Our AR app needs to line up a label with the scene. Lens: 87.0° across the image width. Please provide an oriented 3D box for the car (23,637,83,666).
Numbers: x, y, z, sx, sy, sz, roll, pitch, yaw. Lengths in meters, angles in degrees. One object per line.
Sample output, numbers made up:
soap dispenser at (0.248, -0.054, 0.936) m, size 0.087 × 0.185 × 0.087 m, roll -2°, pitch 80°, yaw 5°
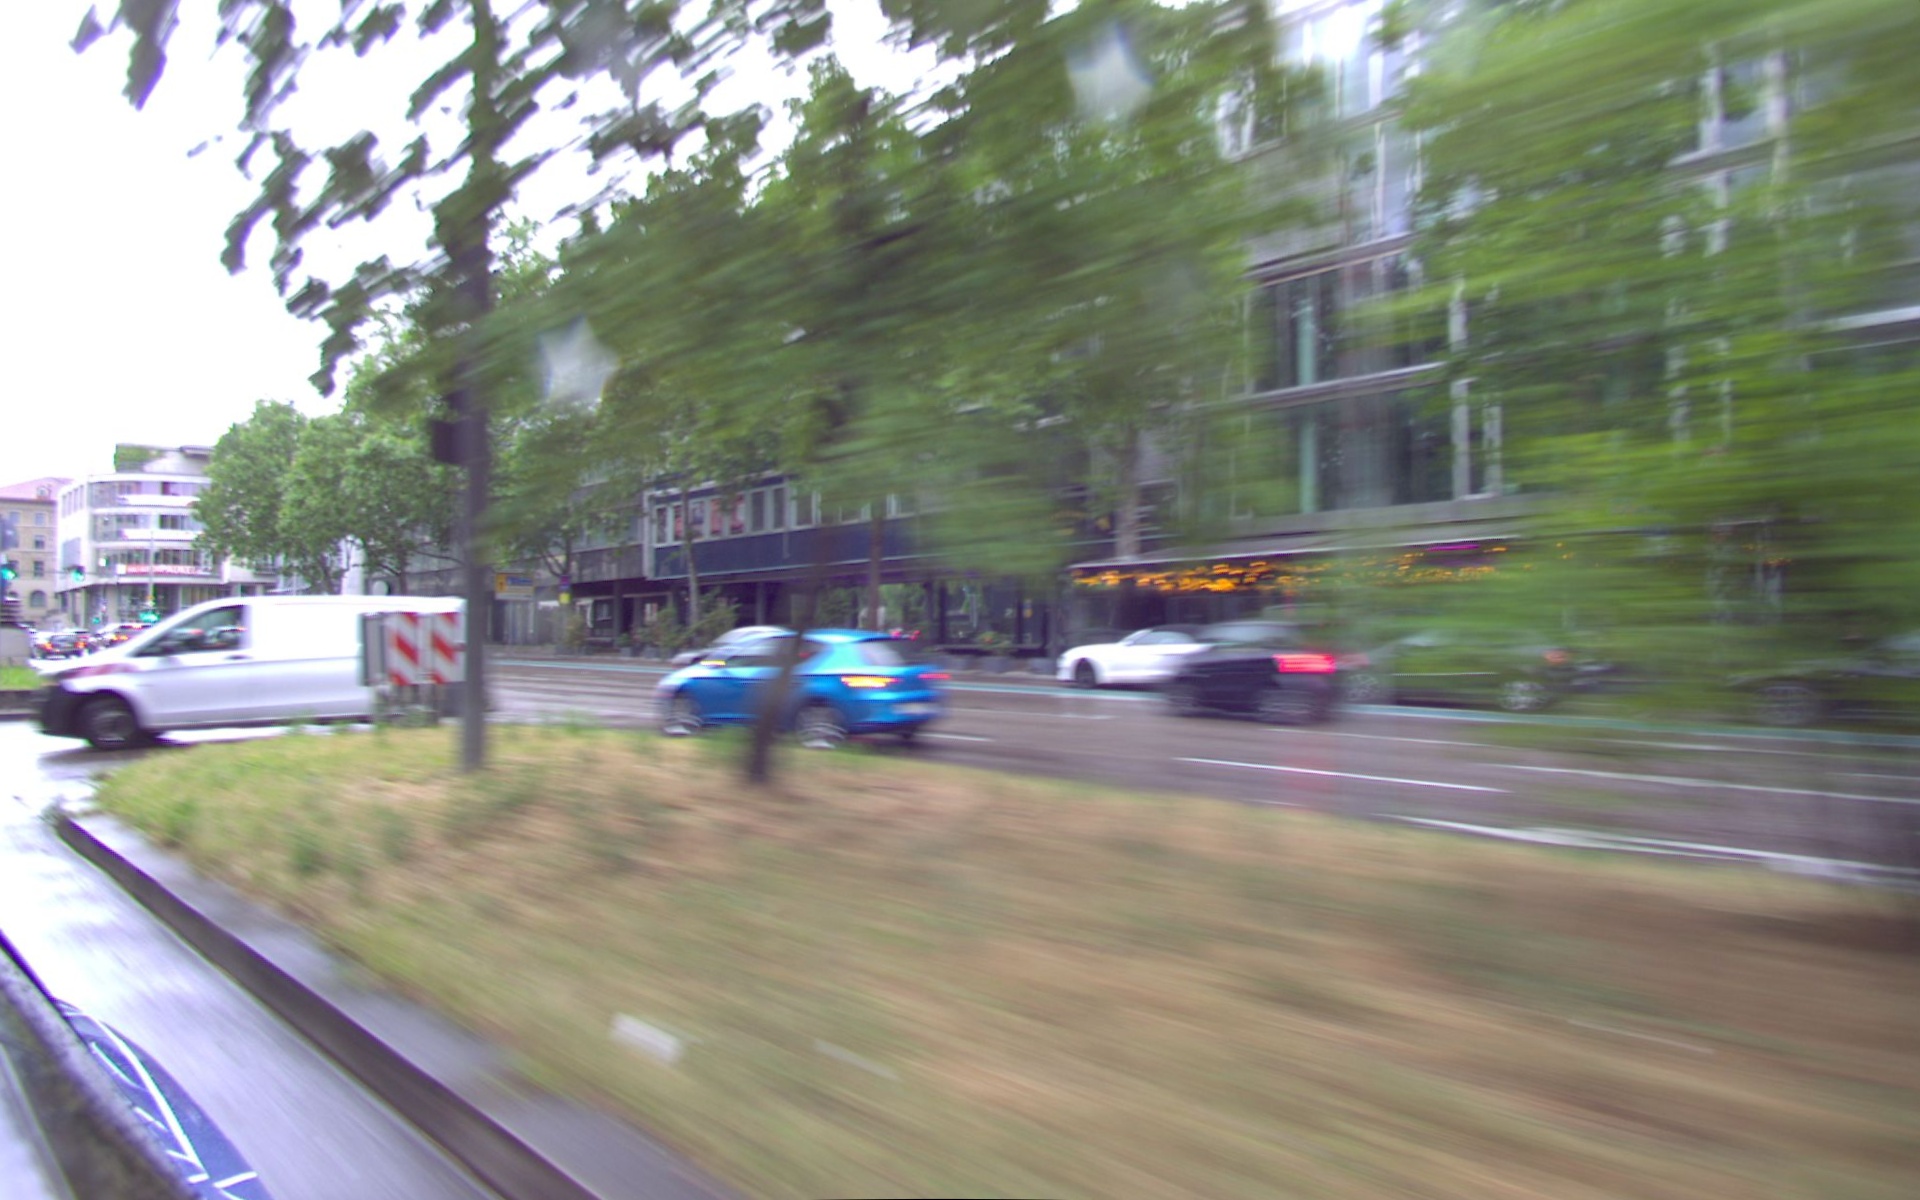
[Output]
car at (-49.715, 2.818, 55.424) m, size 4.913 × 1.462 × 1.824 m, roll -3°, pitch -3°, yaw 41°

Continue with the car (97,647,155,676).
car at (-47.903, 3.507, 58.108) m, size 3.994 × 1.577 × 1.736 m, roll -2°, pitch -2°, yaw 38°

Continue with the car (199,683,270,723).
car at (-32.123, 4.528, 44.788) m, size 4.569 × 1.503 × 1.700 m, roll -3°, pitch -3°, yaw 43°

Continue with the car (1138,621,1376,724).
car at (4.514, 1.078, 15.551) m, size 3.047 × 1.378 × 1.700 m, roll -4°, pitch -2°, yaw 42°

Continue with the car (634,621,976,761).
car at (-2.104, 1.105, 13.050) m, size 4.389 × 1.493 × 1.826 m, roll -3°, pitch -2°, yaw 37°

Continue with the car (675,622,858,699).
car at (-4.208, 1.252, 21.674) m, size 4.094 × 1.487 × 1.731 m, roll -2°, pitch -3°, yaw 41°

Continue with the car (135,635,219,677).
car at (-31.053, 2.196, 40.088) m, size 4.829 × 1.585 × 1.716 m, roll -3°, pitch -3°, yaw 41°

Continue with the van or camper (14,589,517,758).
van or camper at (-8.737, 0.870, 13.420) m, size 5.160 × 1.928 × 2.006 m, roll 0°, pitch -2°, yaw -21°

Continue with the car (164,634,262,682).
car at (-26.090, 2.003, 35.287) m, size 4.541 × 1.564 × 1.893 m, roll -3°, pitch -3°, yaw 42°

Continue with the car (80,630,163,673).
car at (-37.090, 2.272, 44.715) m, size 5.103 × 1.780 × 1.817 m, roll -2°, pitch -3°, yaw 39°

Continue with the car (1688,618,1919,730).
car at (12.622, 0.963, 13.606) m, size 4.453 × 1.420 × 1.675 m, roll -3°, pitch -3°, yaw 41°

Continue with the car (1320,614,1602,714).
car at (8.501, 1.049, 17.353) m, size 3.997 × 1.519 × 1.818 m, roll -3°, pitch -3°, yaw 41°

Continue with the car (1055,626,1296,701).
car at (4.329, 1.273, 20.849) m, size 4.680 × 1.364 × 1.543 m, roll -3°, pitch -2°, yaw 41°
